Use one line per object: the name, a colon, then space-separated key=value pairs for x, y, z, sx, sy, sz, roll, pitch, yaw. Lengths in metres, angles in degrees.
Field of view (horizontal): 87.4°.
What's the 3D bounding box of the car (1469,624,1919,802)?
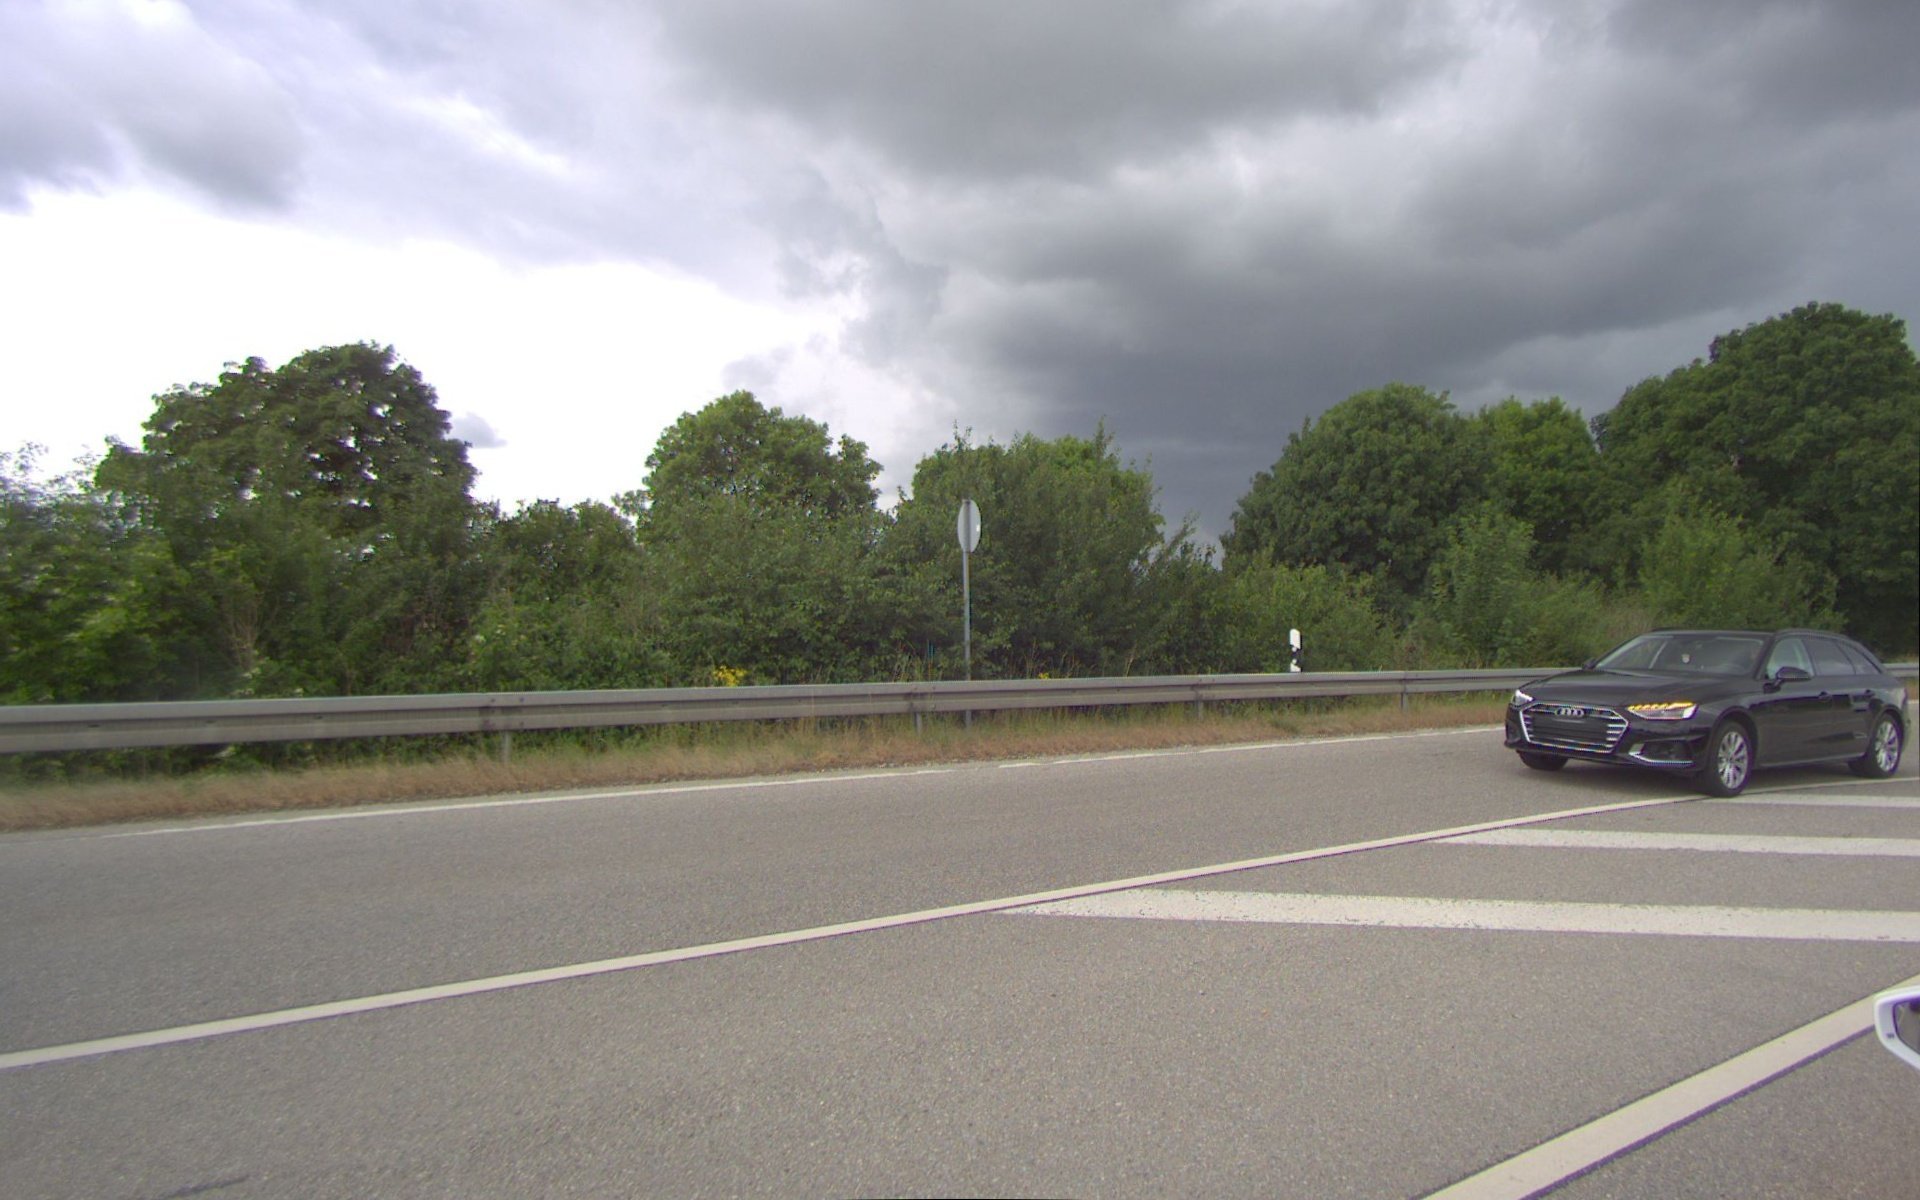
car: x=7.322 y=0.970 z=9.814 sx=4.550 sy=1.392 sz=1.815 roll=1 pitch=-1 yaw=-26
